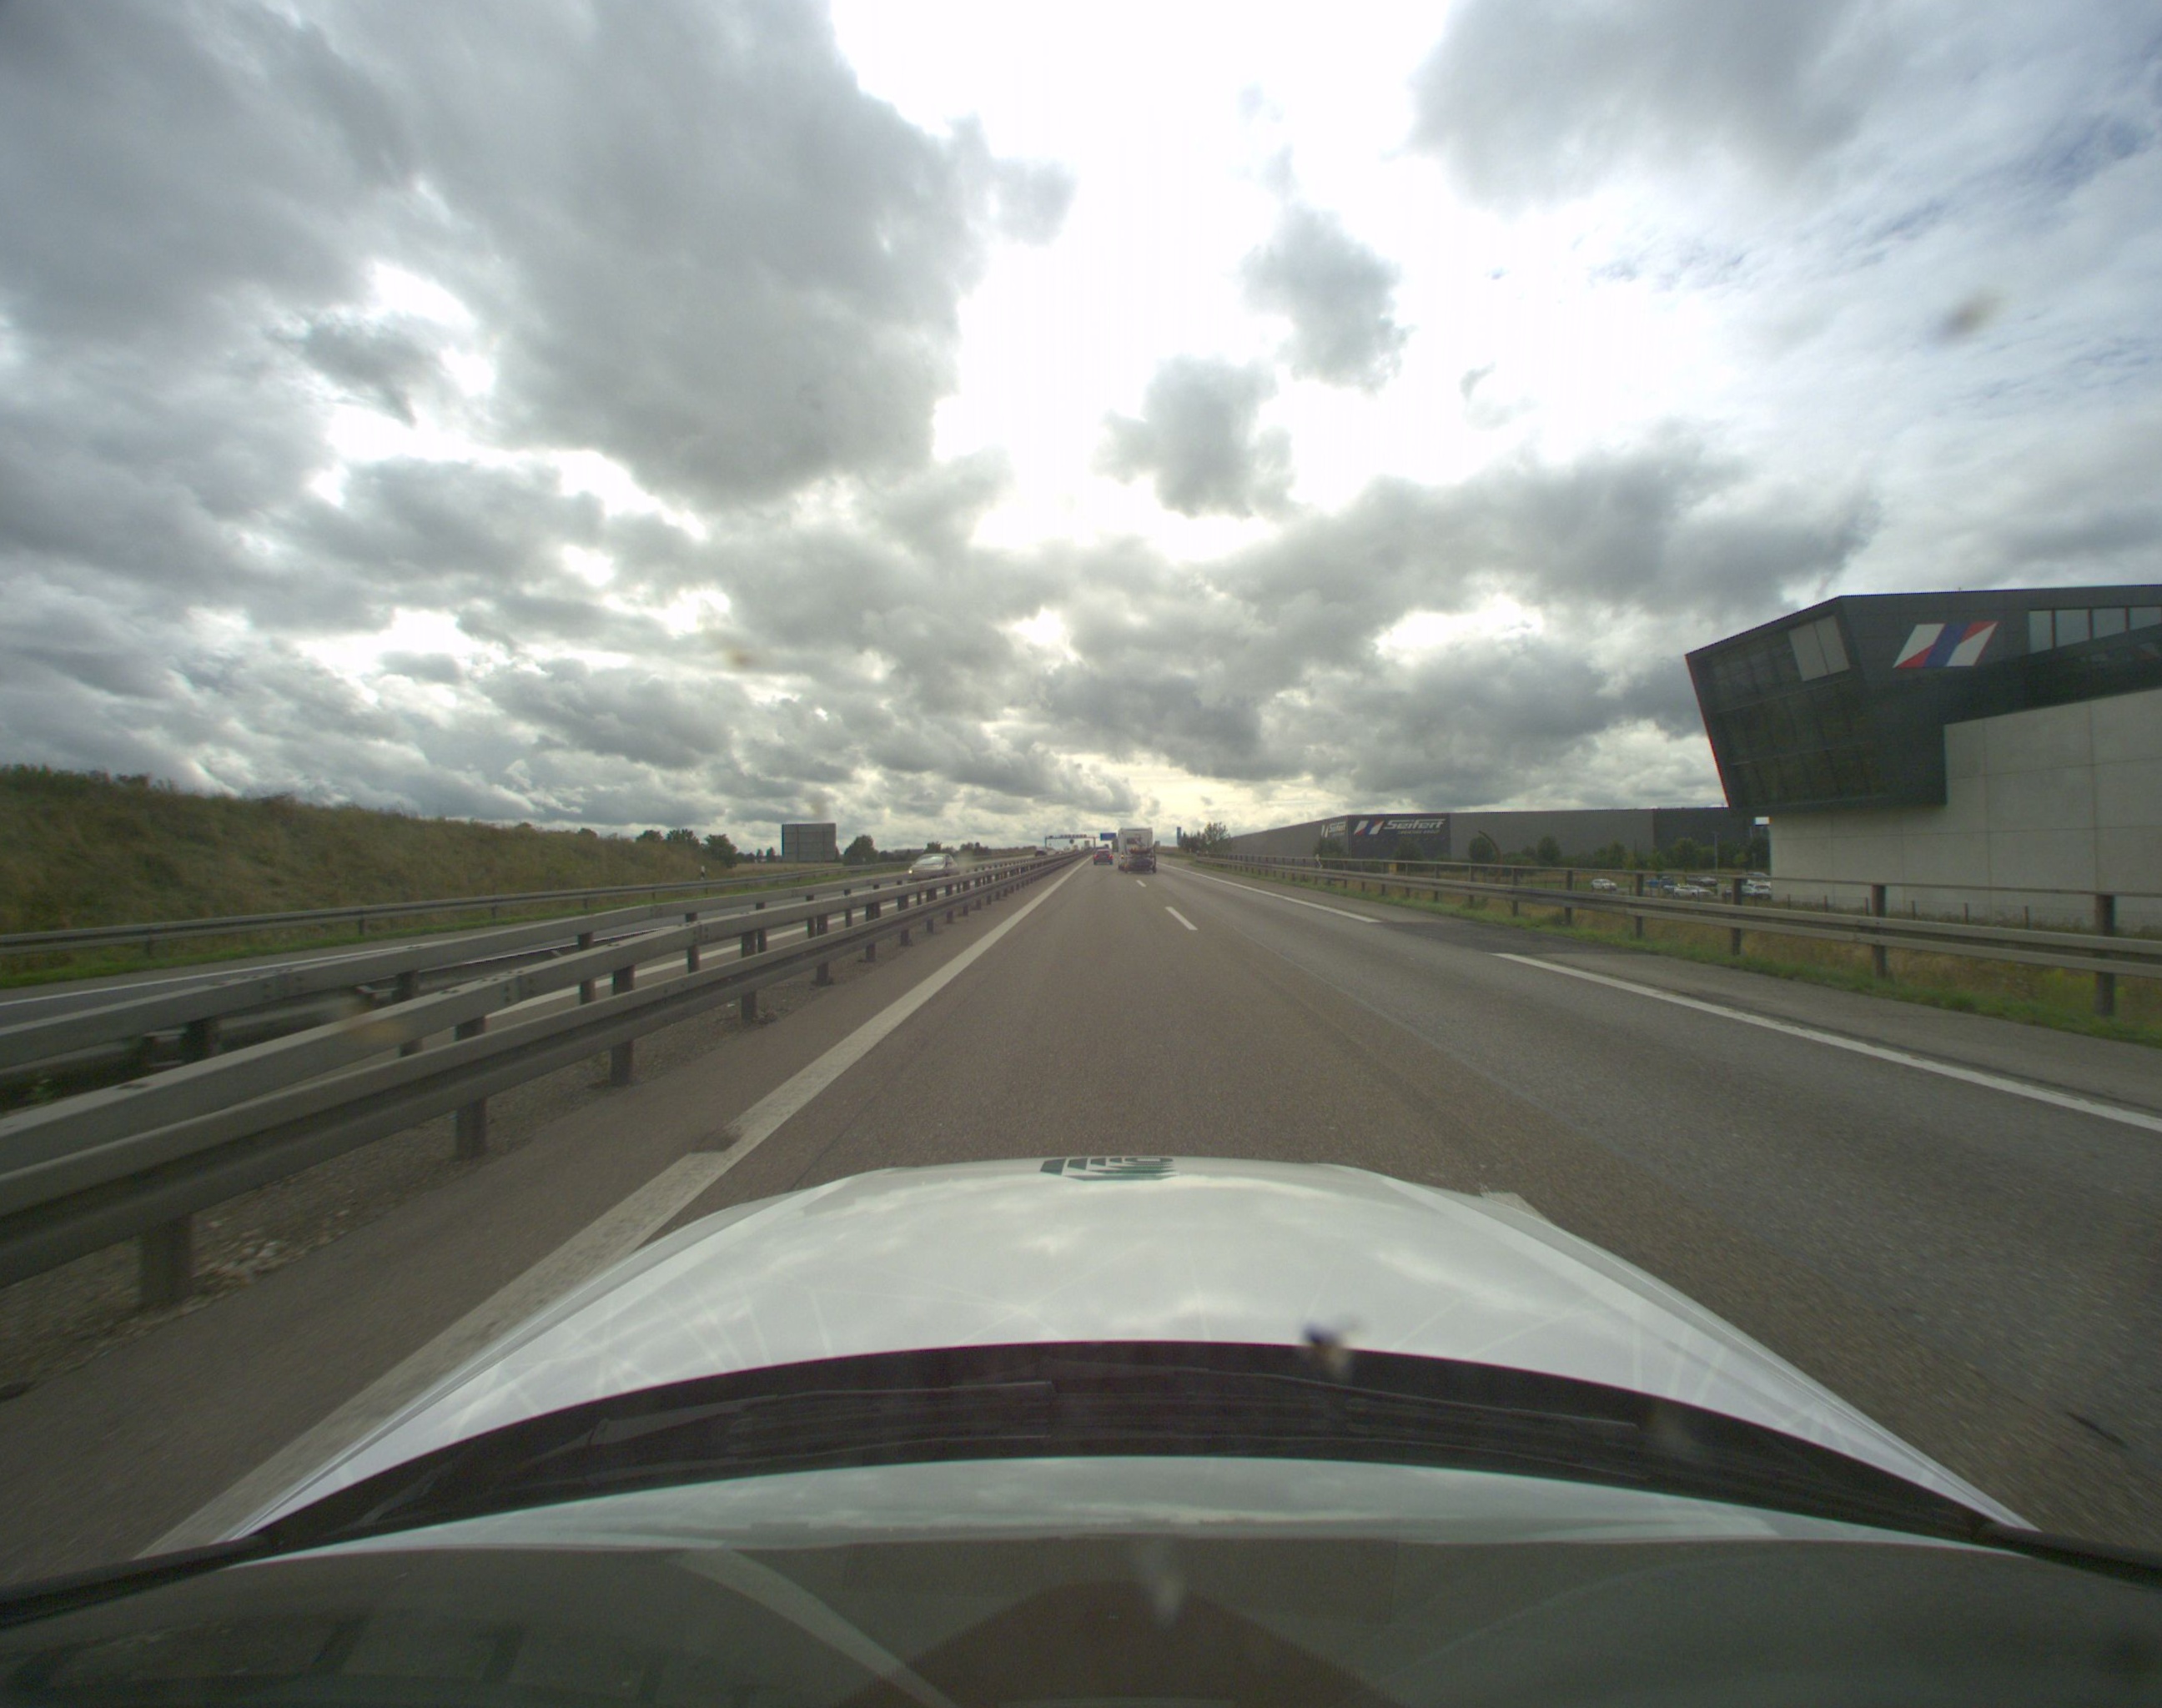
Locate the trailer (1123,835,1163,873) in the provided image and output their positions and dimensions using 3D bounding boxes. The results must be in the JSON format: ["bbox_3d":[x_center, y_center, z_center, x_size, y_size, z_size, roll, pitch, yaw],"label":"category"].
[{"bbox_3d":[3.821,0.015,50.186,2.328,2.136,4.004,-2,-1,4],"label":"trailer"}]

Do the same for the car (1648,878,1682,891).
[{"bbox_3d":[77.515,3.997,108.131,1.669,1.494,4.001,0,0,1],"label":"car"}]

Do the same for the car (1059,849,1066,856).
[{"bbox_3d":[-5.580,-0.492,243.154,1.987,2.014,4.382,-1,-1,0],"label":"car"}]

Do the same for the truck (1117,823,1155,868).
[{"bbox_3d":[3.801,-0.532,57.358,2.472,2.950,5.817,-2,-1,2],"label":"truck"}]

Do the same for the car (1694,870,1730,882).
[{"bbox_3d":[82.898,2.885,107.027,1.669,1.494,4.001,0,0,1],"label":"car"}]

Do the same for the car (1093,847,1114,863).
[{"bbox_3d":[2.147,0.135,77.700,1.738,1.453,4.004,-2,-1,4],"label":"car"}]

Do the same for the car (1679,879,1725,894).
[{"bbox_3d":[69.484,3.651,91.199,1.669,1.494,4.565,0,0,1],"label":"car"}]

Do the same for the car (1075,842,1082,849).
[{"bbox_3d":[-0.609,-2.405,239.101,1.987,2.013,4.383,-1,1,0],"label":"car"}]

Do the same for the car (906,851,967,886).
[{"bbox_3d":[-6.862,0.689,39.109,1.899,1.513,4.731,-2,-1,2],"label":"car"}]

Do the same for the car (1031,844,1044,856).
[{"bbox_3d":[-8.073,-0.738,151.647,1.986,2.013,6.104,-2,1,1],"label":"car"}]
